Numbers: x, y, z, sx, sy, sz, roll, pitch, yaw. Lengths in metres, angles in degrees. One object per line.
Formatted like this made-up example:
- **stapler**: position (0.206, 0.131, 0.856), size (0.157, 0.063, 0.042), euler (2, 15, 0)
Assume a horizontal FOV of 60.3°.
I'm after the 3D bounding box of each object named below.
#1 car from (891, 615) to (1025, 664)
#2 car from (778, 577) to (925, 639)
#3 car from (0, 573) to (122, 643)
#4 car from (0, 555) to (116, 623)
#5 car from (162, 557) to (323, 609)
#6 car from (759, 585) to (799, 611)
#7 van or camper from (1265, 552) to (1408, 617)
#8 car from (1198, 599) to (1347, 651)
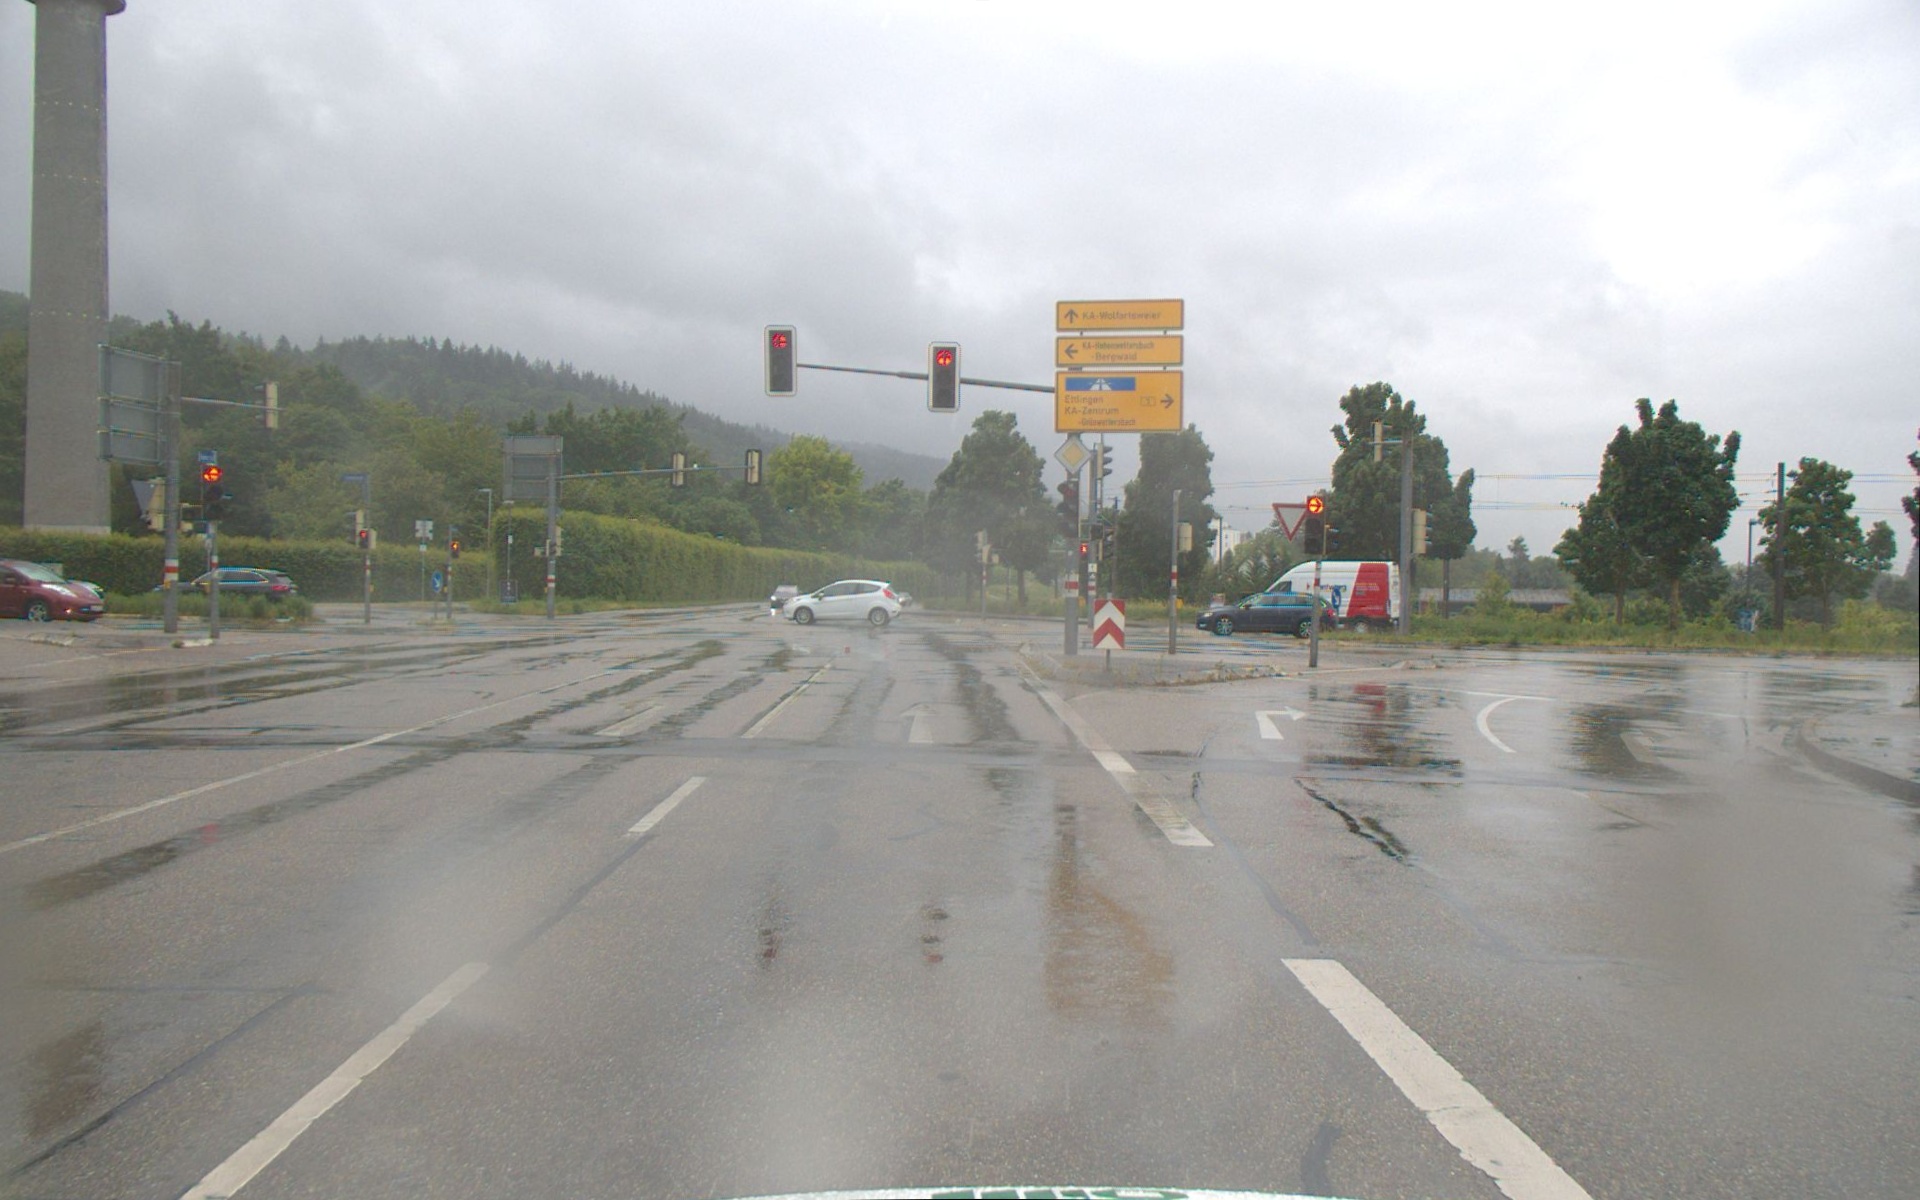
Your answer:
- **car**: position (-0.036, 1.373, 57.834), size (4.572, 1.580, 1.823), euler (1, 1, 2)
- **car**: position (-3.527, 0.229, 54.318), size (4.571, 1.949, 1.916), euler (1, 1, 3)
- **car**: position (-23.174, 0.173, 40.703), size (4.282, 1.607, 1.734), euler (1, 1, 6)
- **car**: position (-24.887, -0.314, 44.277), size (3.721, 1.741, 1.747), euler (1, 1, 6)
- **car**: position (-23.718, -0.566, 54.846), size (4.588, 1.667, 1.817), euler (0, 1, -13)
- **car**: position (-11.713, -0.139, 107.227), size (1.839, 1.601, 4.646), euler (-1, 0, 3)
- **van or camper**: position (13.682, -0.583, 60.141), size (4.751, 2.207, 2.160), euler (2, 1, 23)
- **car**: position (10.106, 0.808, 53.698), size (4.571, 1.580, 1.823), euler (1, 1, 4)
